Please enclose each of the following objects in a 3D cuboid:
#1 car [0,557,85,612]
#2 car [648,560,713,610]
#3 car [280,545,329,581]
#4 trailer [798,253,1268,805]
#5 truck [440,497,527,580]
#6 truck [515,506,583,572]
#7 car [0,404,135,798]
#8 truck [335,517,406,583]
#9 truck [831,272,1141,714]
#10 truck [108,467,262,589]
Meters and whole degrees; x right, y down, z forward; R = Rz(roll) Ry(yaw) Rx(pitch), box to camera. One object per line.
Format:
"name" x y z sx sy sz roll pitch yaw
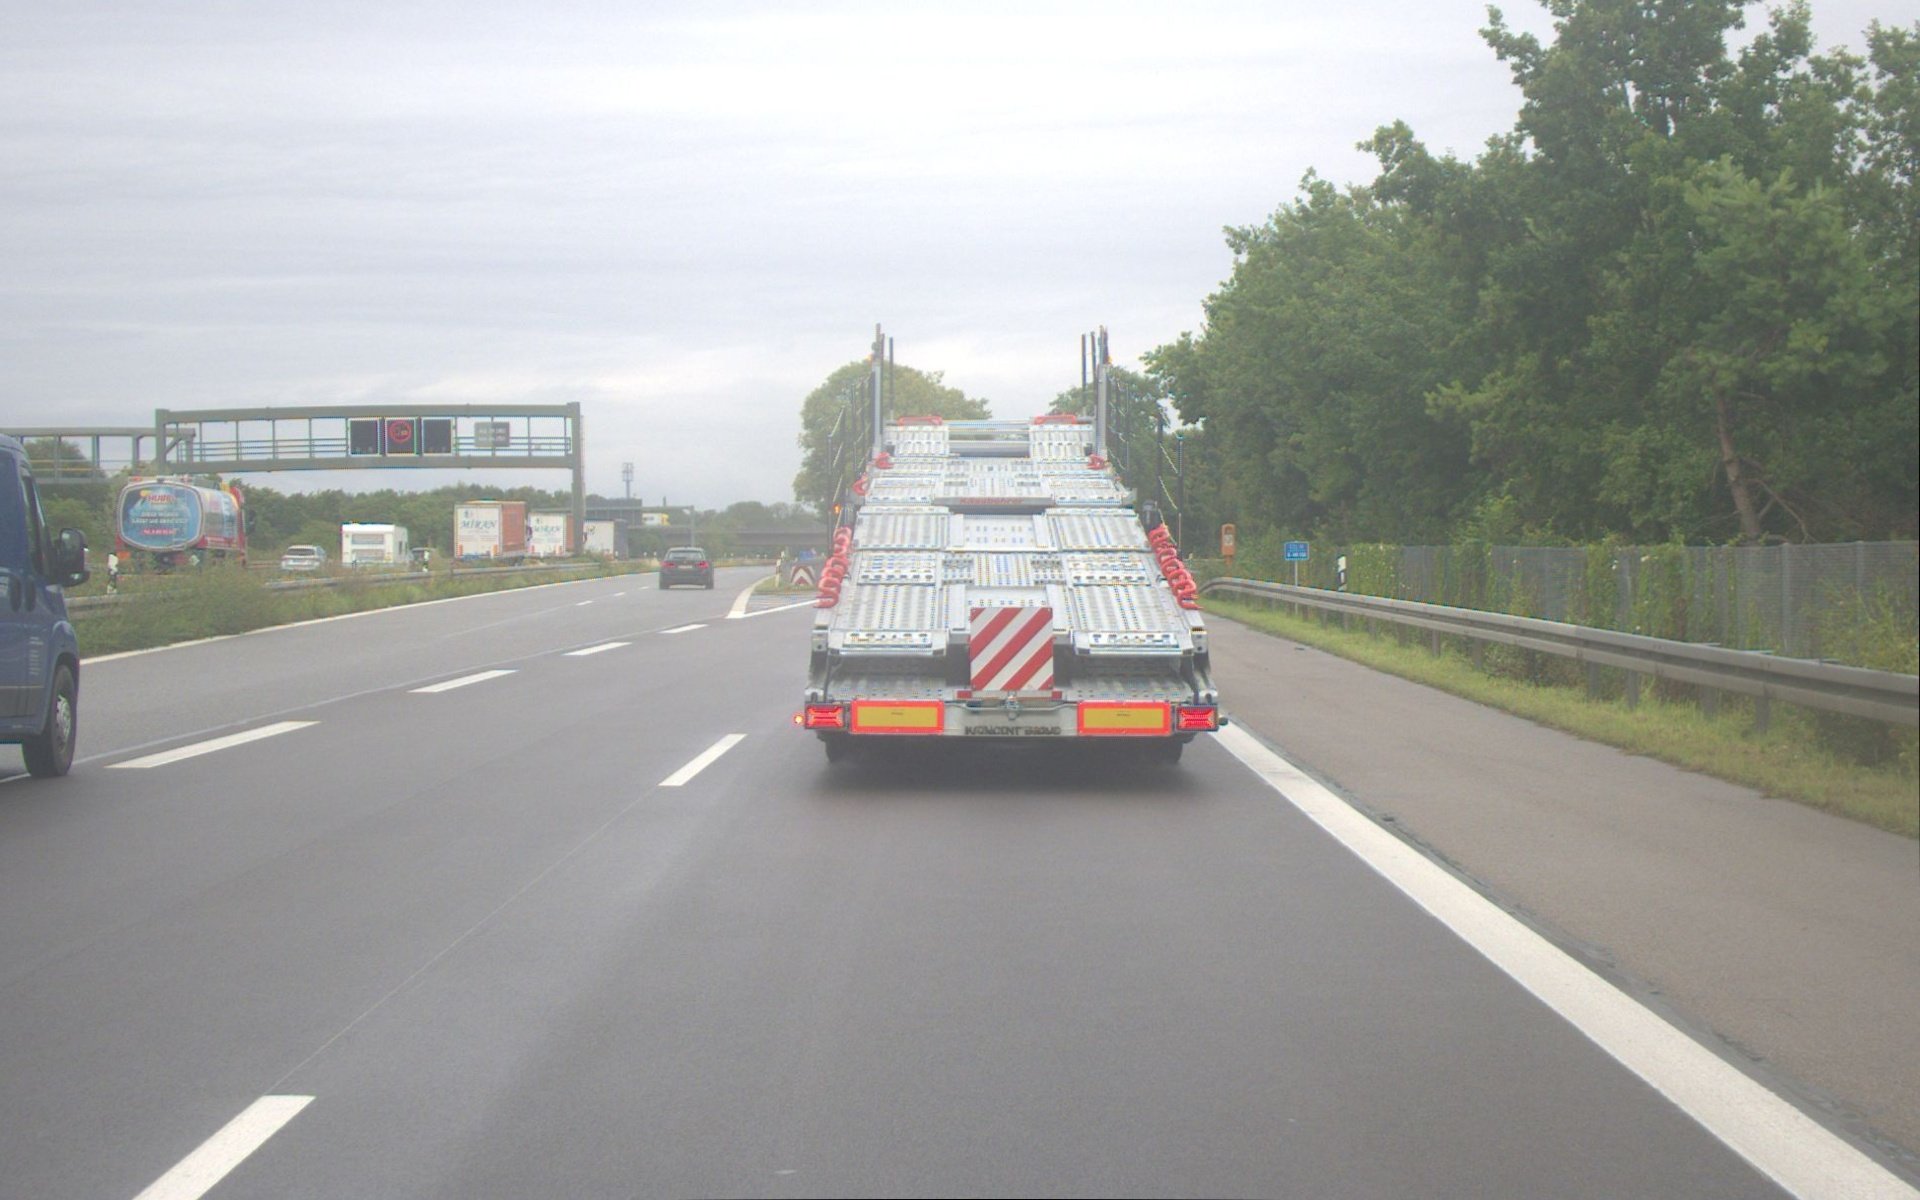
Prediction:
"car" -26.822 -0.459 100.192 1.794 1.551 3.827 1 0 -2
"car" -9.520 -0.525 117.452 1.961 1.632 5.626 1 0 -2
"car" -29.032 -1.653 152.266 1.682 1.525 4.001 1 1 -5
"trailer" 0.335 -0.517 25.845 2.777 3.273 10.408 1 1 -1
"truck" -26.274 -3.373 190.088 3.733 4.402 10.196 1 1 -2
"truck" -28.244 -4.184 236.820 3.733 4.402 11.898 1 1 -2
"car" -6.720 -0.024 20.426 2.372 2.258 6.257 1 1 -3
"truck" -24.576 -2.098 143.546 2.243 2.695 5.280 1 1 -2
"truck" 0.152 -1.055 35.629 2.738 3.954 9.129 1 1 -1
"truck" -22.426 -2.065 99.949 2.856 3.353 8.632 1 1 -2
